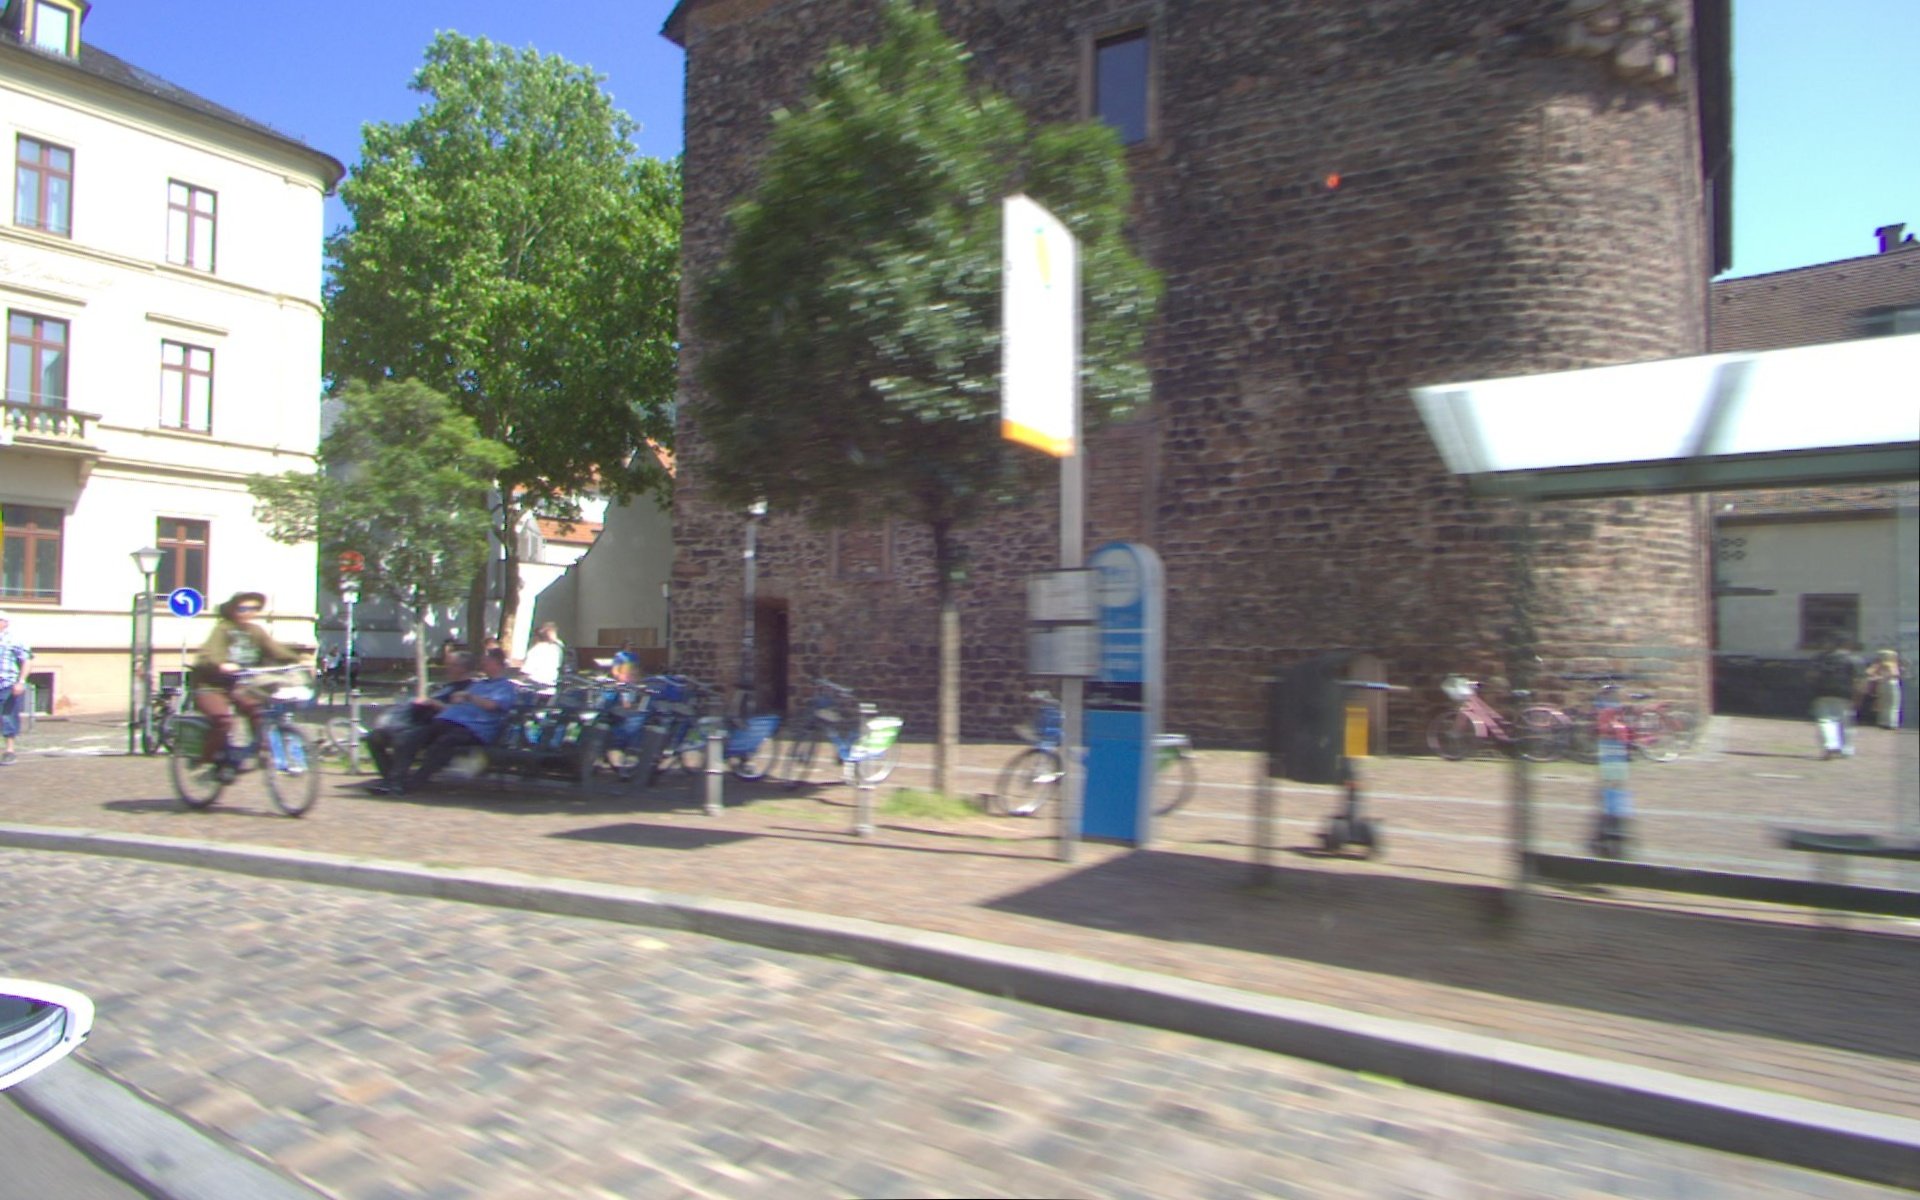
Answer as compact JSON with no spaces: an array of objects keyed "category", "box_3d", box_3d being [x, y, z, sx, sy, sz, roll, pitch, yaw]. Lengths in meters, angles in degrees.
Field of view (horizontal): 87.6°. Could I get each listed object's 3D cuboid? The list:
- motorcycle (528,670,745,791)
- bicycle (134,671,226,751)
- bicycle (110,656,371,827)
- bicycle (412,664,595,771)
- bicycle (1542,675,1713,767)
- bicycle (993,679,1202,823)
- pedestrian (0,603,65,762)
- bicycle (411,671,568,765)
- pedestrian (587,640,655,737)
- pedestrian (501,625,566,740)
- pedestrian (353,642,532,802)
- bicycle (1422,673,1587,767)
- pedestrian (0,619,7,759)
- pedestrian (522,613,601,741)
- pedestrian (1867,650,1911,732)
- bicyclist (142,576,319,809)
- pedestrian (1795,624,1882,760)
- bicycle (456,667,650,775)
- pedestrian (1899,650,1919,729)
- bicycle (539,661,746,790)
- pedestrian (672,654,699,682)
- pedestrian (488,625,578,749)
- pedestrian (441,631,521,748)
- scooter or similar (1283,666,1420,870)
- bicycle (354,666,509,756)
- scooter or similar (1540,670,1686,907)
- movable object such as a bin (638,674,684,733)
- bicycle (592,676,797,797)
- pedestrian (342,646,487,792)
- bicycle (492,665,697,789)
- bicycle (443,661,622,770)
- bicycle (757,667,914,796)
[{"category":"motorcycle","box_3d":[-3.343,1.332,10.610,0.765,1.117,2.203,0,-4,30]},{"category":"bicycle","box_3d":[-10.478,1.496,13.443,1.560,1.015,0.507,-5,-6,34]},{"category":"bicycle","box_3d":[-5.447,1.008,7.571,1.976,1.143,0.689,-1,-3,25]},{"category":"bicycle","box_3d":[-5.694,1.452,12.635,0.599,1.212,2.079,0,-4,31]},{"category":"bicycle","box_3d":[8.905,1.603,13.405,1.889,1.167,0.548,0,-3,2]},{"category":"bicycle","box_3d":[1.137,1.260,8.502,1.704,1.145,0.548,0,-3,3]},{"category":"pedestrian","box_3d":[-11.533,0.987,12.140,0.716,1.875,0.618,1,-2,-4]},{"category":"bicycle","box_3d":[-6.135,1.517,13.158,0.599,1.124,1.792,0,-4,31]},{"category":"pedestrian","box_3d":[-6.384,1.648,18.893,0.947,1.782,0.757,-1,-3,32]},{"category":"pedestrian","box_3d":[-7.466,1.441,17.573,0.775,1.965,0.806,1,-3,-4]},{"category":"pedestrian","box_3d":[-4.637,1.057,9.038,0.683,1.324,1.246,-1,-3,30]},{"category":"bicycle","box_3d":[7.293,1.595,13.518,1.894,1.175,0.526,-1,-3,23]},{"category":"pedestrian","box_3d":[-12.290,1.098,12.381,0.656,1.733,0.526,-1,-3,32]},{"category":"pedestrian","box_3d":[-6.340,1.218,15.955,0.922,1.984,0.656,0,-3,13]},{"category":"pedestrian","box_3d":[19.528,1.907,21.058,0.525,1.687,0.580,-1,-3,32]},{"category":"bicyclist","box_3d":[-5.543,0.682,7.631,0.872,1.648,0.709,-1,-3,25]},{"category":"pedestrian","box_3d":[12.496,1.292,14.274,0.750,1.868,0.795,-2,-3,32]},{"category":"bicycle","box_3d":[-4.576,1.348,11.437,0.595,1.098,2.079,0,-4,30]},{"category":"pedestrian","box_3d":[20.579,1.929,21.542,0.445,1.687,0.358,-1,-3,32]},{"category":"bicycle","box_3d":[-3.310,1.289,10.666,0.765,1.212,2.079,0,-4,30]},{"category":"pedestrian","box_3d":[-11.451,2.823,41.777,0.972,1.162,0.811,2,-2,-25]},{"category":"pedestrian","box_3d":[-6.342,1.278,14.910,0.892,1.775,0.805,0,-3,12]},{"category":"pedestrian","box_3d":[-7.576,1.409,15.892,0.910,1.787,0.989,1,-3,-13]},{"category":"scooter or similar","box_3d":[2.736,1.100,6.922,0.642,1.230,1.429,-1,-5,32]},{"category":"bicycle","box_3d":[-7.149,1.492,13.630,0.555,1.124,1.792,0,-4,31]},{"category":"scooter or similar","box_3d":[3.911,1.065,6.058,0.642,1.230,1.429,-1,-5,32]},{"category":"movable object such as a bin","box_3d":[-5.935,2.036,19.876,0.741,1.138,0.489,-1,-3,33]},{"category":"bicycle","box_3d":[-2.639,1.340,10.218,0.789,1.078,2.023,0,-4,31]},{"category":"pedestrian","box_3d":[-5.148,1.093,9.485,0.683,1.297,0.960,-1,-4,30]},{"category":"bicycle","box_3d":[-3.968,1.359,11.069,0.765,1.212,2.079,0,-4,30]},{"category":"bicycle","box_3d":[-5.187,1.386,12.326,0.519,1.212,2.079,0,-4,30]},{"category":"bicycle","box_3d":[-1.258,1.310,10.368,0.716,1.213,1.543,-1,-4,38]}]
